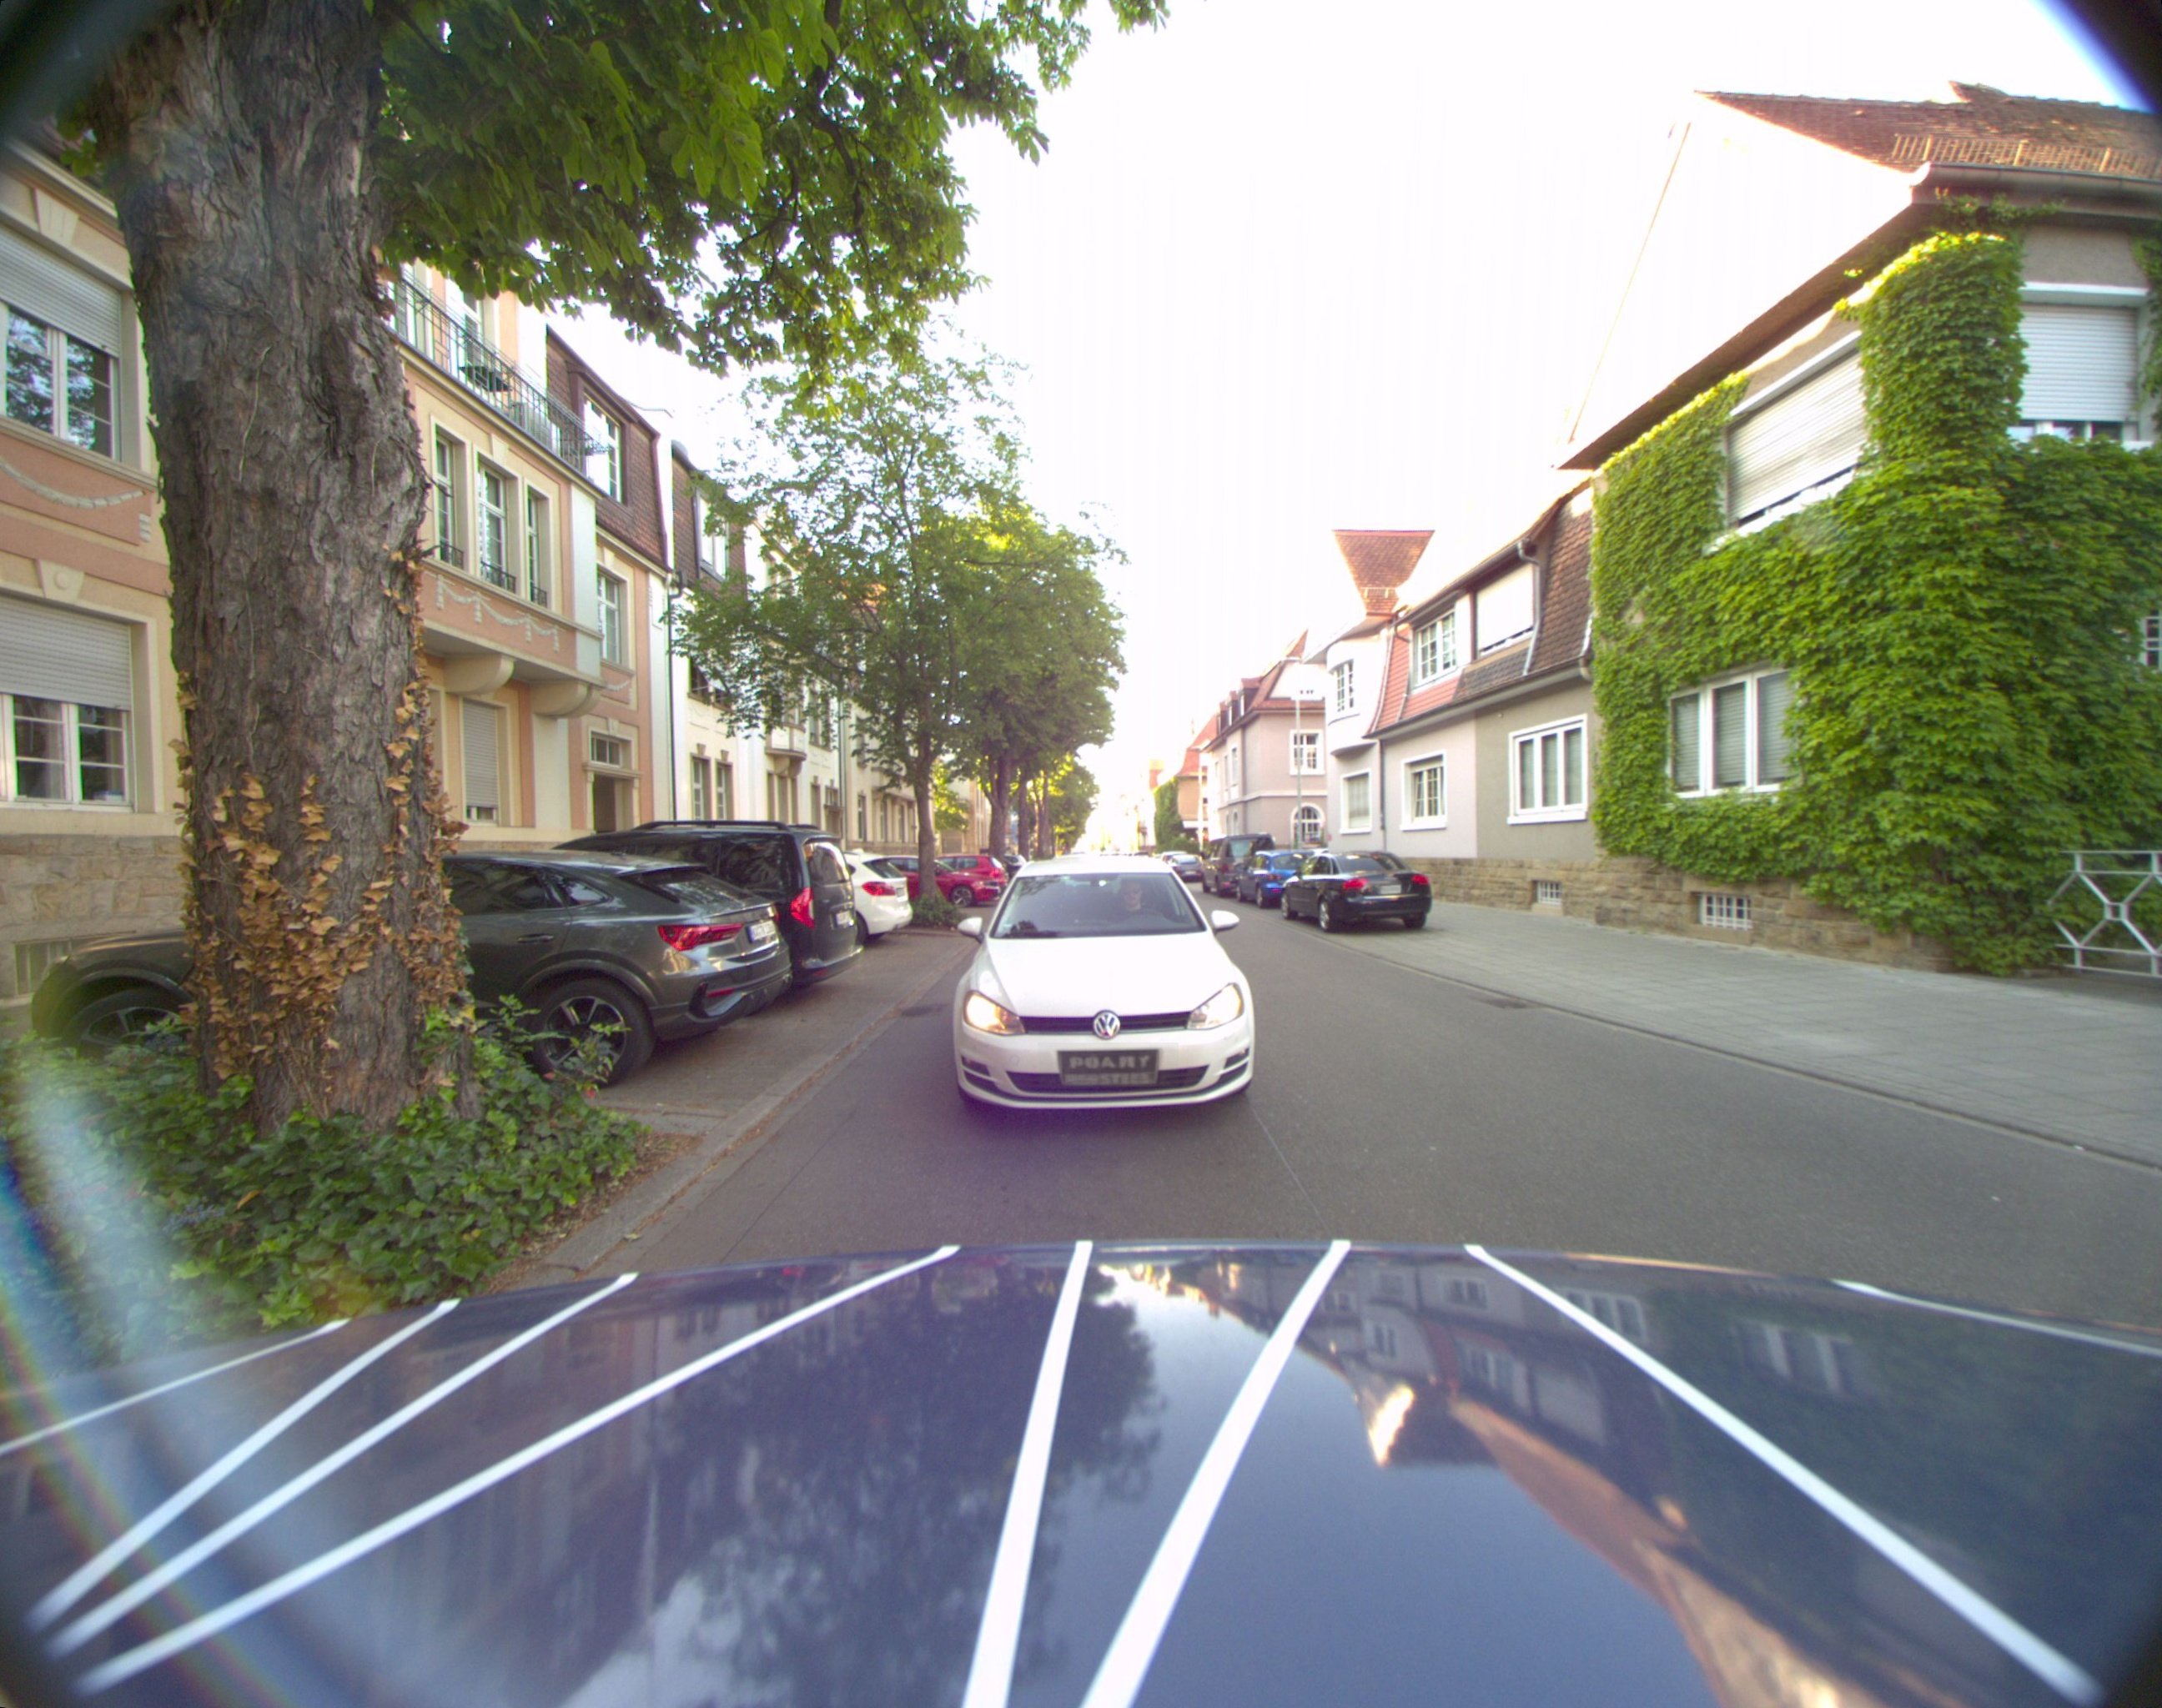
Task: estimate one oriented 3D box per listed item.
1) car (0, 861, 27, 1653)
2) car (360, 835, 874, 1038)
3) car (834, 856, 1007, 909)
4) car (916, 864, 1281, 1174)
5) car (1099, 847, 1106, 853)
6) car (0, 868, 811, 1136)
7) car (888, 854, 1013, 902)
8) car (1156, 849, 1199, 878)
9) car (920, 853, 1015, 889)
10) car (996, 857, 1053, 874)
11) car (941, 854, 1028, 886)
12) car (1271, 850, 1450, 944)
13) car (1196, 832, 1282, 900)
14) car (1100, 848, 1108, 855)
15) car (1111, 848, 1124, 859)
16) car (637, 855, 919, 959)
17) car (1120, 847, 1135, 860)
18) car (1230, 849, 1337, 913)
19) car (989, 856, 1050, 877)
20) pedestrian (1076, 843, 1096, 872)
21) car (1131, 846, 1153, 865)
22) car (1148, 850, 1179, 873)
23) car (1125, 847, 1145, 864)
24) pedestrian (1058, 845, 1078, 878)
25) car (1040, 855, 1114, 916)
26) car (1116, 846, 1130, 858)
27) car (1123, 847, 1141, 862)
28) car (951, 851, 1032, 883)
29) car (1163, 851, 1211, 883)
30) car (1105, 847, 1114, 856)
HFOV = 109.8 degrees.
[{"bbox_3d":[-4.596,0.766,0.515,4.763,1.864,1.896,0,1,-4],"label":"car"},{"bbox_3d":[-4.439,0.733,7.826,4.121,1.827,1.844,0,1,-2],"label":"car"},{"bbox_3d":[-4.537,0.793,21.932,4.530,1.443,1.867,0,1,3],"label":"car"},{"bbox_3d":[0.125,0.877,5.928,1.819,1.454,4.072,-2,0,1],"label":"car"},{"bbox_3d":[5.829,-1.027,202.663,1.699,1.520,3.677,-3,1,2],"label":"car"},{"bbox_3d":[-4.541,0.891,5.501,4.522,1.514,1.844,0,1,-4],"label":"car"},{"bbox_3d":[-4.143,0.744,24.460,3.680,1.473,1.659,0,1,3],"label":"car"},{"bbox_3d":[5.278,0.495,42.138,1.932,1.458,4.062,-3,1,2],"label":"car"},{"bbox_3d":[-4.682,0.703,31.704,3.680,1.458,1.576,0,1,2],"label":"car"},{"bbox_3d":[-3.521,0.713,47.636,3.399,1.057,1.542,0,1,2],"label":"car"},{"bbox_3d":[-4.319,0.706,34.320,3.680,1.390,1.576,0,1,2],"label":"car"},{"bbox_3d":[5.140,0.690,14.676,1.806,1.438,4.428,-3,1,0],"label":"car"},{"bbox_3d":[5.141,0.346,25.348,1.842,1.964,4.612,-3,1,0],"label":"car"},{"bbox_3d":[5.252,-0.675,173.277,1.699,1.520,3.677,-3,1,2],"label":"car"},{"bbox_3d":[5.542,-0.135,115.857,1.699,1.520,3.677,-3,1,2],"label":"car"},{"bbox_3d":[-4.833,0.811,12.526,3.950,1.568,1.719,0,1,0],"label":"car"},{"bbox_3d":[5.556,-0.064,91.003,1.699,1.520,3.677,-3,1,2],"label":"car"},{"bbox_3d":[5.277,0.638,20.337,1.768,1.438,4.062,-3,1,0],"label":"car"},{"bbox_3d":[-3.570,0.720,44.430,3.399,1.143,1.542,0,1,2],"label":"car"},{"bbox_3d":[0.345,0.227,52.702,1.276,1.927,1.186,-3,1,-1],"label":"pedestrian"},{"bbox_3d":[5.414,0.137,68.001,1.699,1.558,3.677,-3,1,2],"label":"car"},{"bbox_3d":[5.434,0.460,50.378,1.662,1.354,3.677,-3,1,2],"label":"car"},{"bbox_3d":[5.328,0.103,75.266,1.699,1.520,3.677,-3,1,2],"label":"car"},{"bbox_3d":[-0.755,0.436,44.978,1.119,1.927,1.097,-3,1,-1],"label":"pedestrian"},{"bbox_3d":[-0.064,0.785,21.081,1.819,1.454,4.072,-2,0,1],"label":"car"},{"bbox_3d":[5.537,-0.264,100.730,1.699,1.520,3.677,-3,1,2],"label":"car"},{"bbox_3d":[5.429,0.044,80.758,1.699,1.520,3.677,-3,1,2],"label":"car"},{"bbox_3d":[-4.286,0.615,36.833,3.680,1.548,1.576,0,1,2],"label":"car"},{"bbox_3d":[5.056,0.585,36.662,1.932,1.376,4.063,-3,1,4],"label":"car"},{"bbox_3d":[5.562,-0.499,149.114,1.699,1.520,3.677,-3,1,2],"label":"car"}]
